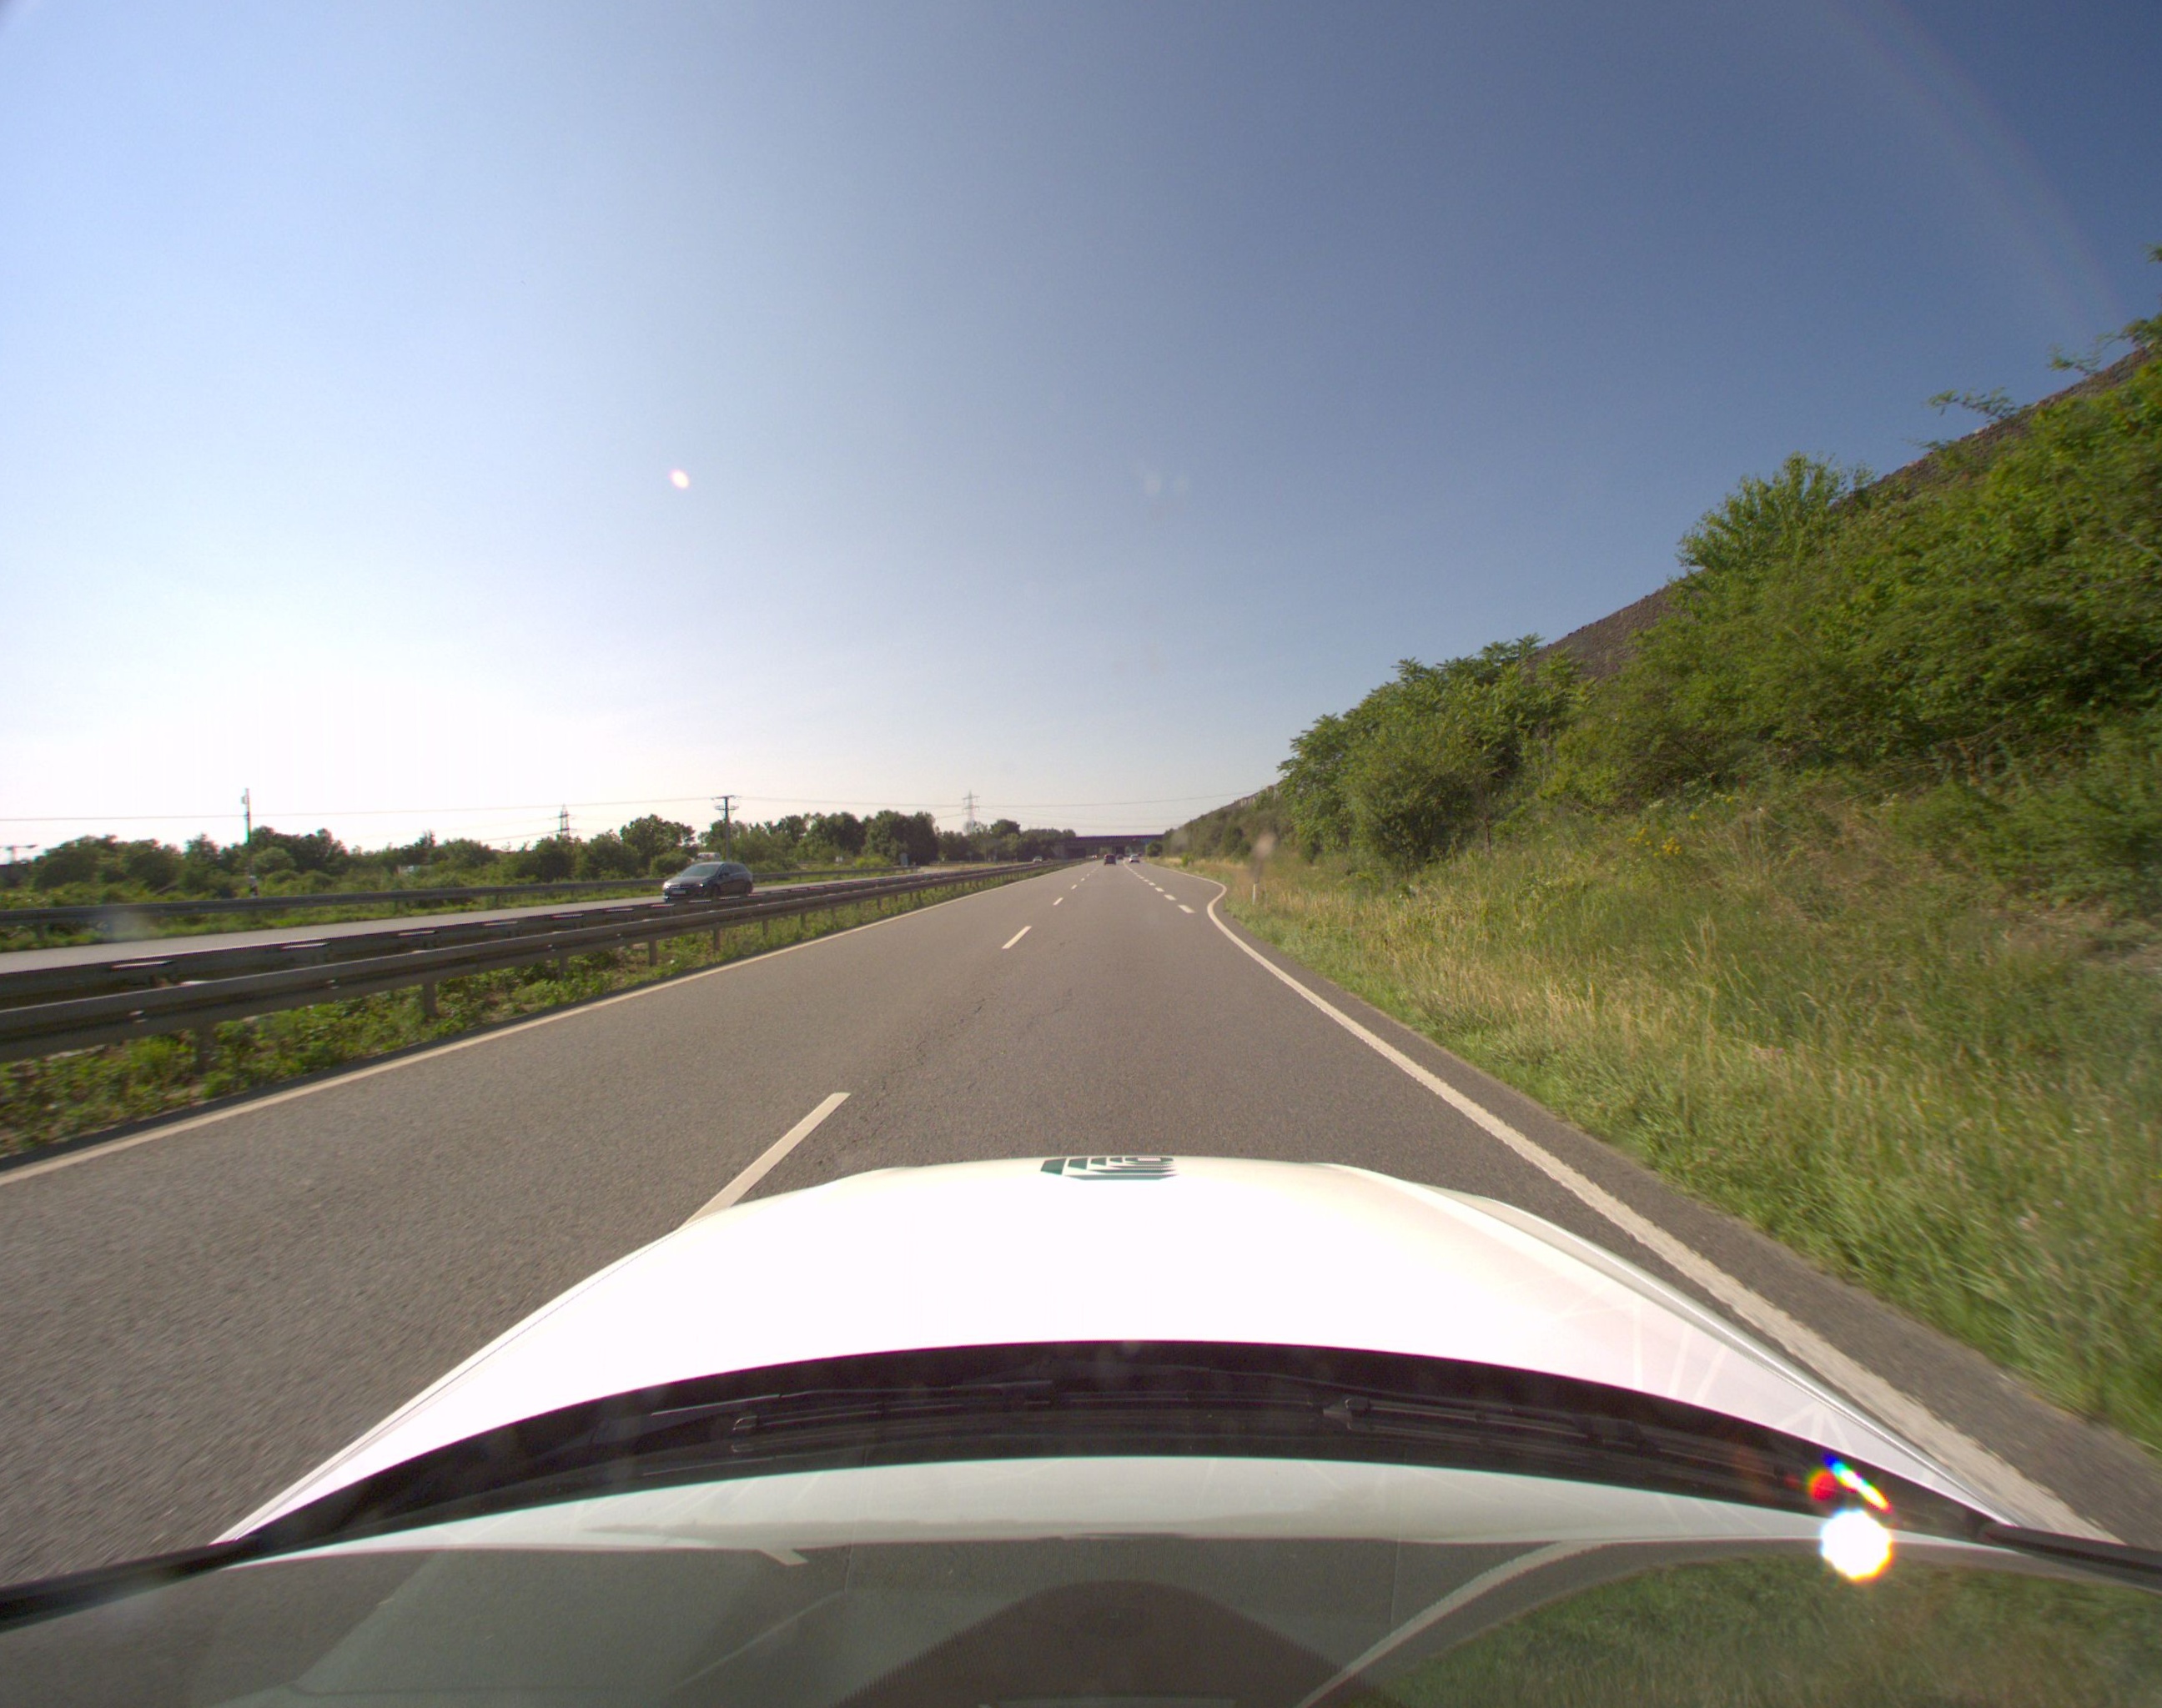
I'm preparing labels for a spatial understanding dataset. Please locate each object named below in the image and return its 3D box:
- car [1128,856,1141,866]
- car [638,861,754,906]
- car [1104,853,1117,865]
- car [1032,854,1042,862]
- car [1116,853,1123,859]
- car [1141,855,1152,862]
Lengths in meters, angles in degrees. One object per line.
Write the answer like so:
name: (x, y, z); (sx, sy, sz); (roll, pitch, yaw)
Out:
car: (9.366, 1.144, 142.192); (1.784, 1.665, 4.014); (1, 0, 12)
car: (-14.046, 1.017, 30.076); (1.861, 1.434, 4.935); (1, 0, 1)
car: (4.471, 0.755, 122.764); (1.841, 1.644, 4.005); (-1, 0, 5)
car: (-9.044, 0.829, 166.948); (1.694, 1.485, 4.622); (1, 0, 2)
car: (10.405, 0.456, 221.095); (1.841, 1.644, 4.005); (-1, 0, 5)
car: (14.267, 0.948, 176.878); (1.888, 1.297, 4.015); (1, 0, 13)
